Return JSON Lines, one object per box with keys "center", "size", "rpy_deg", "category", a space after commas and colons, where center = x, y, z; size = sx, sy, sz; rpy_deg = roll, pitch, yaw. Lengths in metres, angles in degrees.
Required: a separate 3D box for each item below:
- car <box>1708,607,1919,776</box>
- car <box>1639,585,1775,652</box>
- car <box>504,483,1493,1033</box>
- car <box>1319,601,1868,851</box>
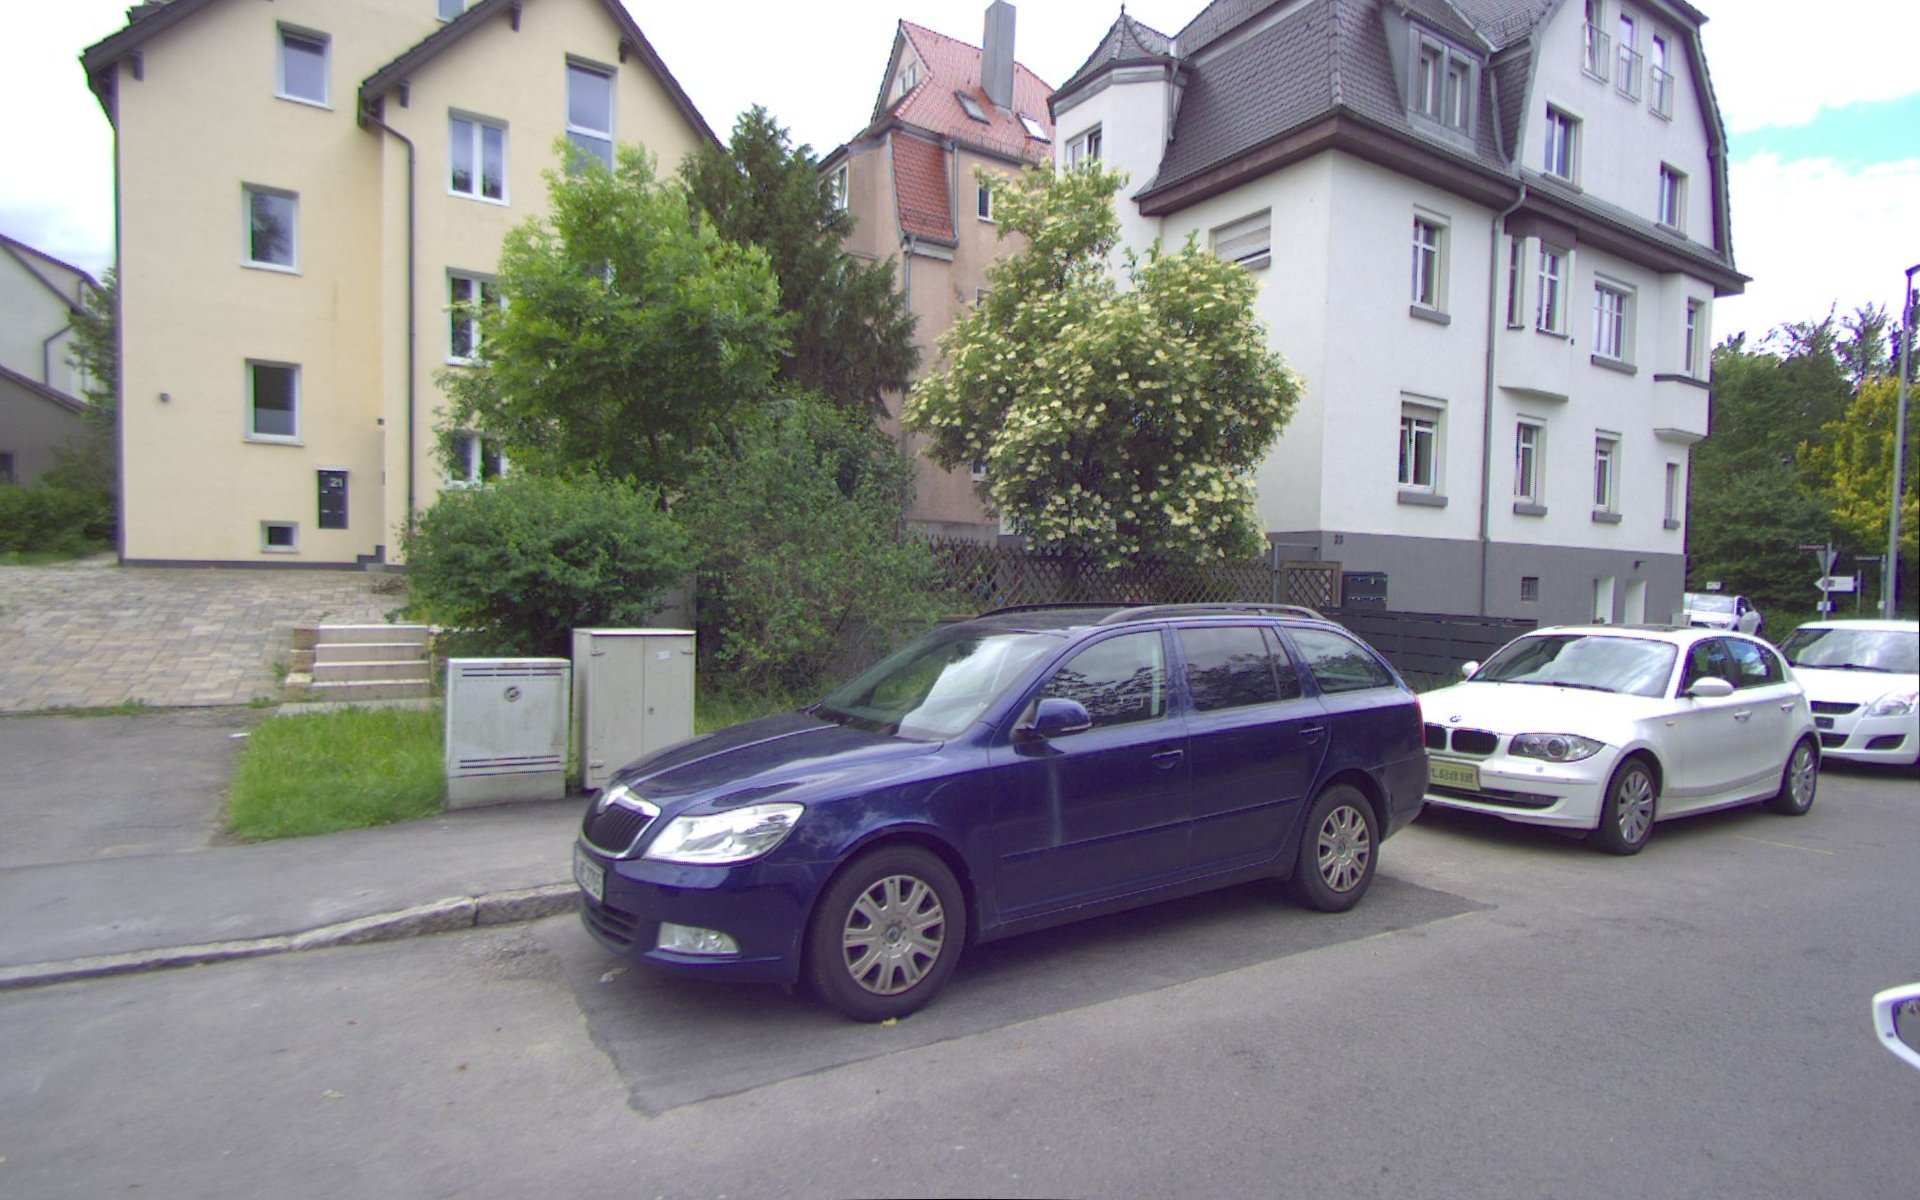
{"center": [9.807, 0.854, 10.725], "size": [4.027, 1.489, 1.633], "rpy_deg": [1, 0, -33], "category": "car"}
{"center": [20.311, 0.523, 27.258], "size": [4.561, 1.553, 1.889], "rpy_deg": [2, 3, -40], "category": "car"}
{"center": [0.490, 0.552, 4.956], "size": [4.764, 1.594, 1.717], "rpy_deg": [3, -2, -33], "category": "car"}
{"center": [4.982, 0.780, 7.670], "size": [4.675, 1.408, 1.715], "rpy_deg": [2, -1, -32], "category": "car"}
